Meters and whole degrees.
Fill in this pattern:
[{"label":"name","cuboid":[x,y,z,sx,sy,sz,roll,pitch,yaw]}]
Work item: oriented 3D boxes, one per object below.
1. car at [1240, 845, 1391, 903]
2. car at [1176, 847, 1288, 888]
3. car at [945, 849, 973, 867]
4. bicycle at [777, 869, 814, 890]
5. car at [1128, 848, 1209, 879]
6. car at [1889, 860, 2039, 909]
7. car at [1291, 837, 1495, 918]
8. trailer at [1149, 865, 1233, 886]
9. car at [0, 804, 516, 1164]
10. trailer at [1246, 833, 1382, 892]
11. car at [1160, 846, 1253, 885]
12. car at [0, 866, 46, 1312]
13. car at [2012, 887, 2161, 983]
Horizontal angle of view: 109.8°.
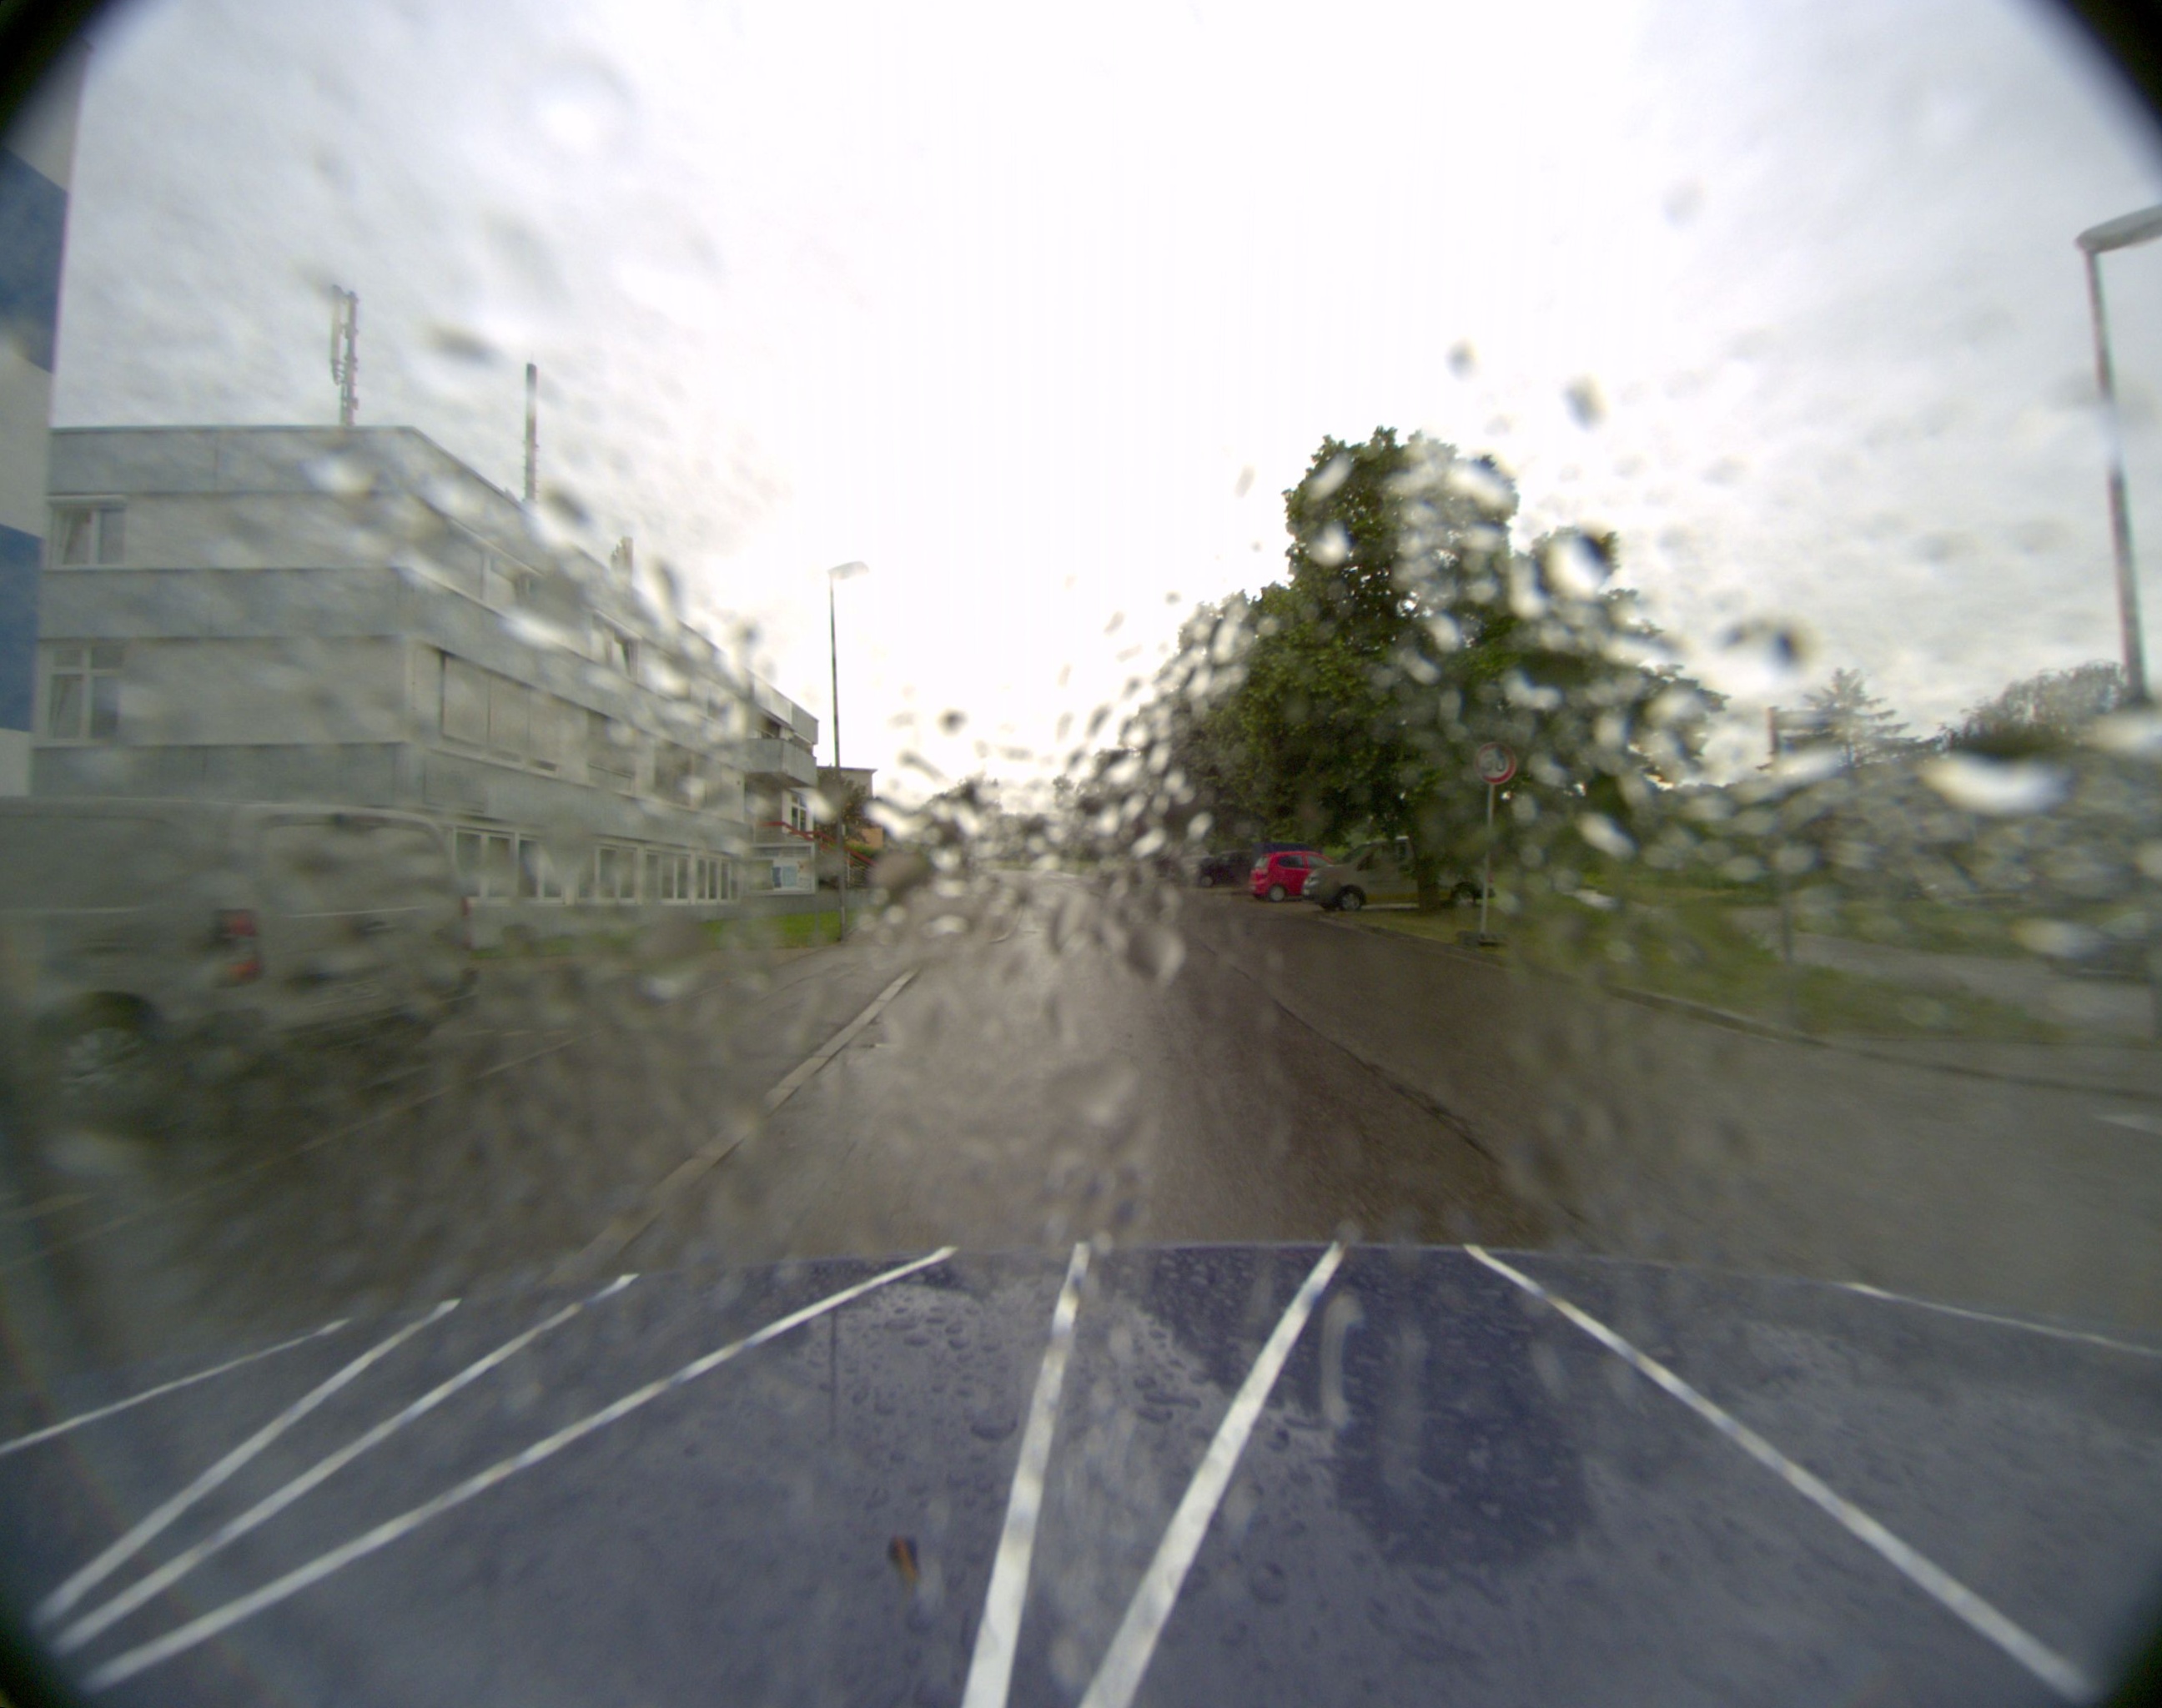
[{"label":"car","cuboid":[7.322,0.581,23.913,4.209,1.712,1.754,0,1,-7]},{"label":"car","cuboid":[6.781,0.594,34.346,4.631,1.581,1.805,-2,1,-4]},{"label":"car","cuboid":[-15.853,0.496,98.354,2.057,2.317,5.396,-1,0,-26]},{"label":"bicycle","cuboid":[-11.906,1.077,31.711,1.423,0.825,0.285,-1,1,-24]},{"label":"car","cuboid":[5.136,0.541,44.874,4.381,1.712,2.043,0,1,-8]},{"label":"car","cuboid":[43.835,1.470,37.865,4.493,2.207,1.933,1,0,18]},{"label":"car","cuboid":[7.601,0.557,18.864,4.310,1.895,1.862,0,1,2]},{"label":"trailer","cuboid":[5.684,1.116,39.646,3.953,0.955,1.999,-2,0,-6]},{"label":"car","cuboid":[-6.488,0.639,4.699,4.352,1.763,2.088,0,0,-3]},{"label":"trailer","cuboid":[8.155,0.280,26.826,4.224,1.973,1.773,0,1,-4]},{"label":"car","cuboid":[6.043,0.534,37.008,4.085,1.712,2.025,-2,1,-2]},{"label":"car","cuboid":[-5.988,0.766,1.621,4.609,1.529,2.079,1,0,-1]},{"label":"car","cuboid":[21.004,1.549,14.514,1.996,1.742,4.393,0,-4,18]}]
